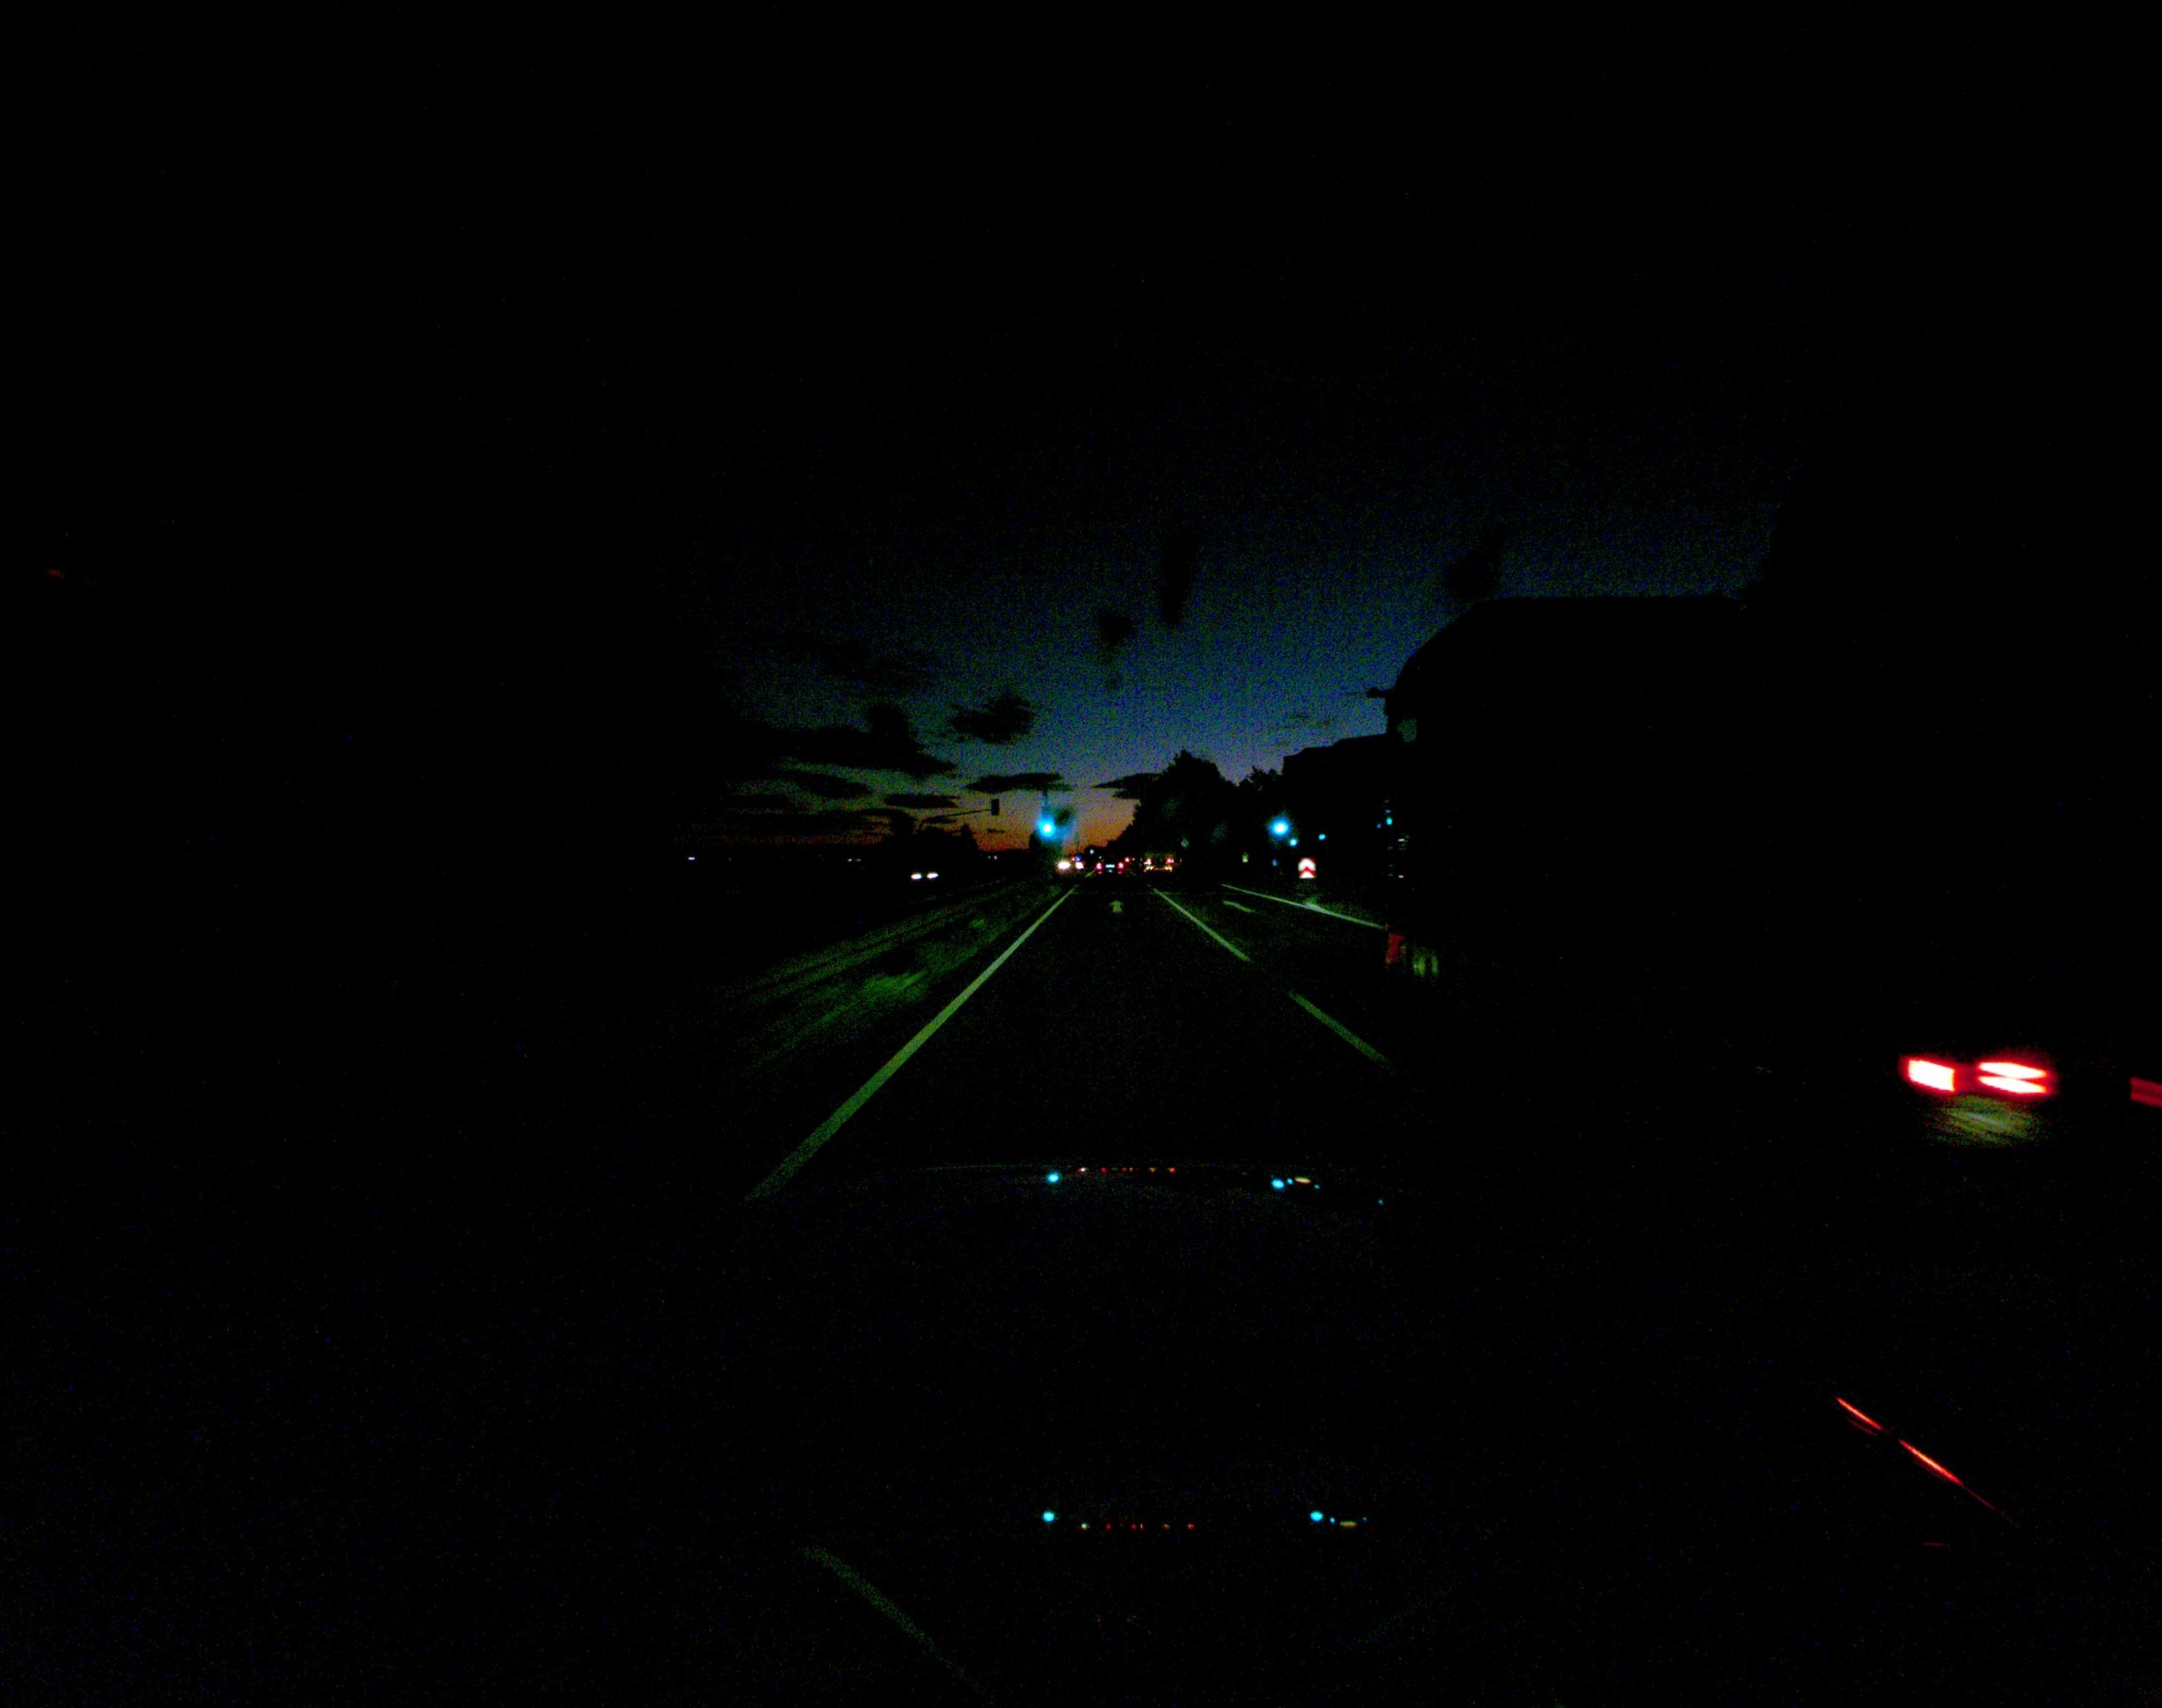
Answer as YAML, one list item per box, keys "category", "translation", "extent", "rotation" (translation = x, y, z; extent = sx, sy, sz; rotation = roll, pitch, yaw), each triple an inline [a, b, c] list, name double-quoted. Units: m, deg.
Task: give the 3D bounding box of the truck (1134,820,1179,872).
- category: "truck"
  translation: [6.376, -0.647, 70.704]
  extent: [2.873, 4.106, 12.684]
  rotation: [0, 0, 1]

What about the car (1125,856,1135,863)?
- category: "car"
  translation: [9.709, 1.074, 161.512]
  extent: [1.690, 1.452, 3.914]
  rotation: [0, 0, 1]

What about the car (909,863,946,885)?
- category: "car"
  translation: [-10.230, 1.304, 54.451]
  extent: [1.600, 1.330, 3.939]
  rotation: [-3, 0, 1]

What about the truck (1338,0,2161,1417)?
- category: "truck"
  translation: [4.117, -0.618, 2.826]
  extent: [2.677, 4.106, 13.146]
  rotation: [0, 0, 2]

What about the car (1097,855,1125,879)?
- category: "car"
  translation: [1.883, 0.803, 51.635]
  extent: [1.690, 1.452, 3.914]
  rotation: [0, 0, 1]
